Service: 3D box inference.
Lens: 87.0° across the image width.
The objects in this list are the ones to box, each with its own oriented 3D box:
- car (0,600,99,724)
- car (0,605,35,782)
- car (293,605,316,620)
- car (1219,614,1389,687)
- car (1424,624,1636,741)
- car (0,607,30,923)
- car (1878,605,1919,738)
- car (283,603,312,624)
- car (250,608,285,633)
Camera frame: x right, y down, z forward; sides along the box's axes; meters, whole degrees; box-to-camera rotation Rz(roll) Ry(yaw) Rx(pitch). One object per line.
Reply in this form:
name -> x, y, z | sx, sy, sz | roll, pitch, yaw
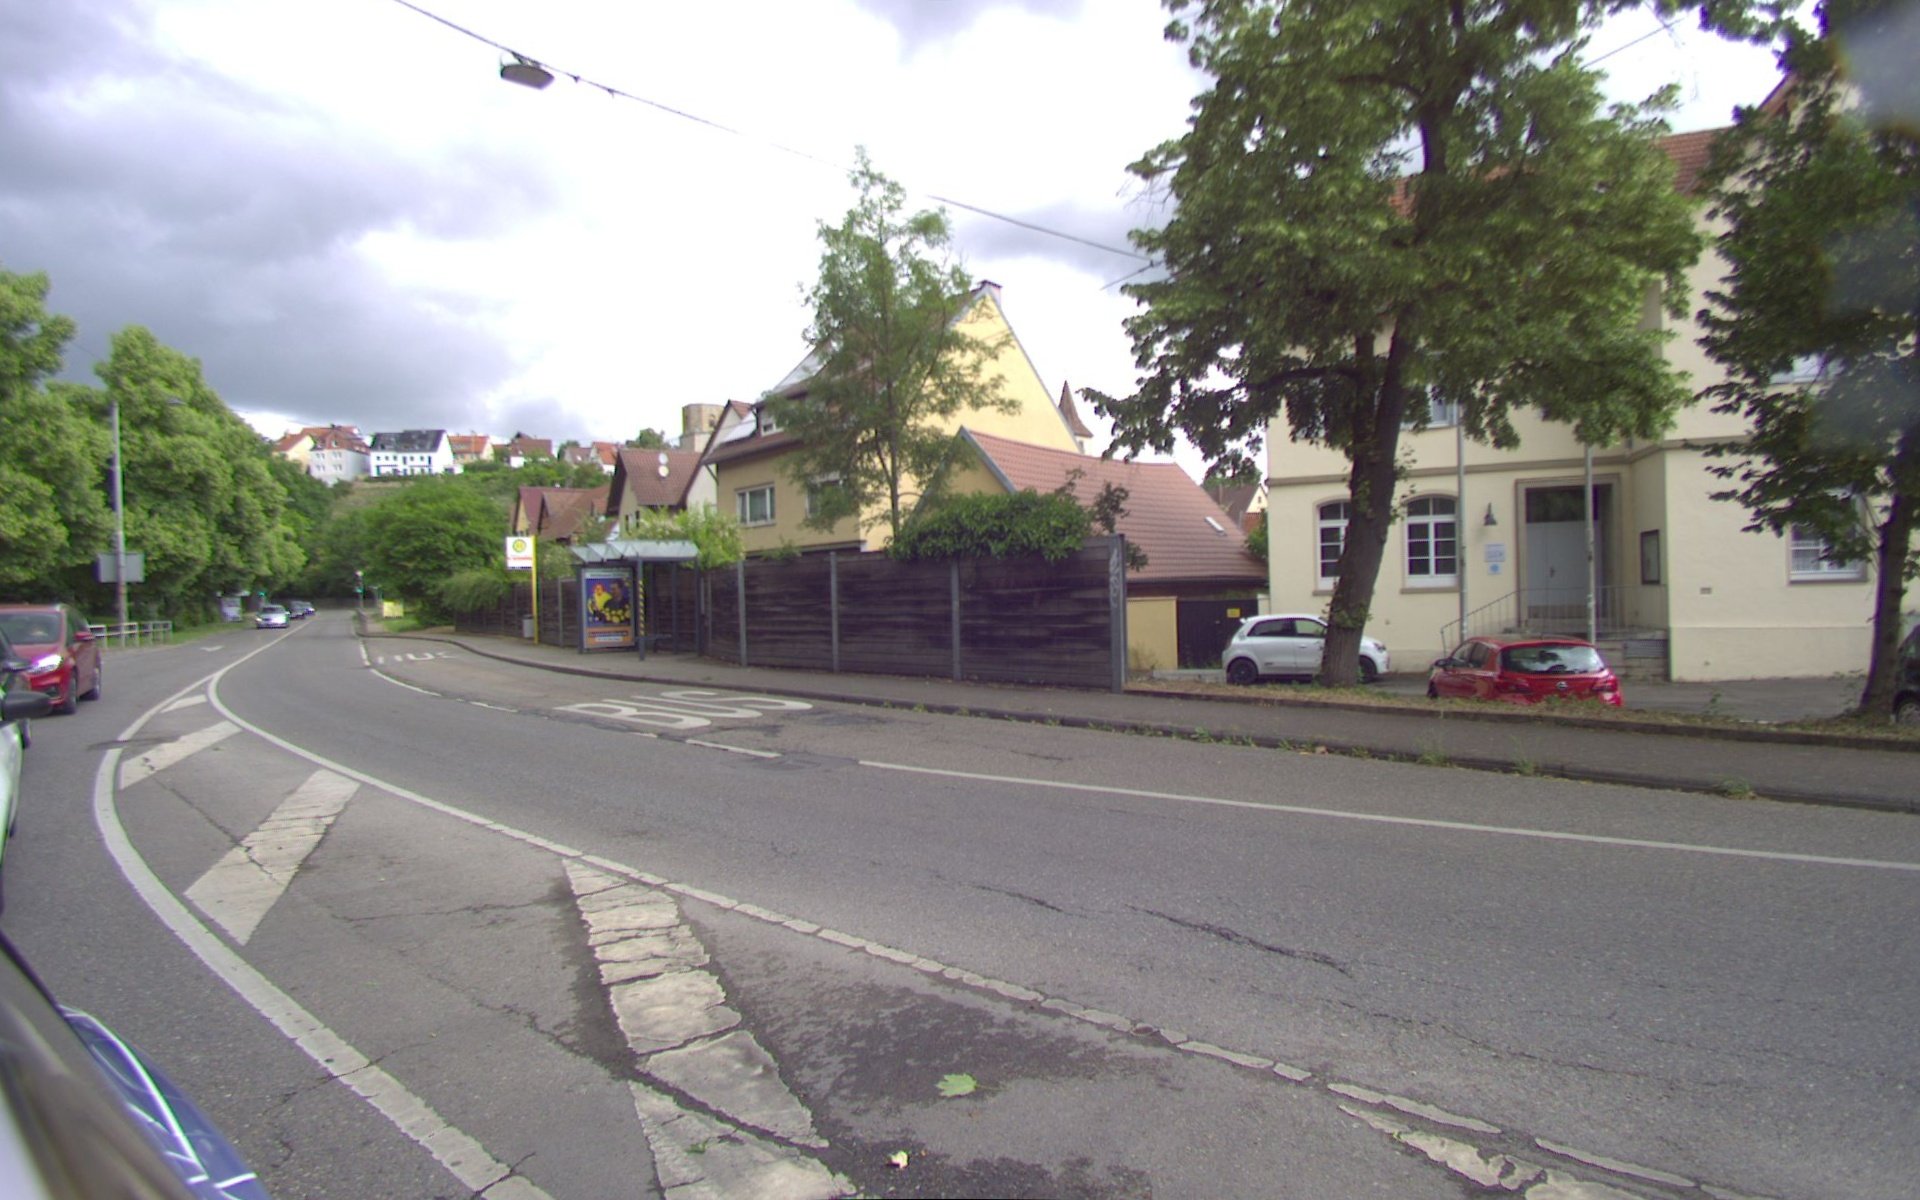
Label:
car -> -14.511, 0.880, 15.442 | 1.800, 1.685, 4.067 | -1, 0, -37
car -> -10.244, 0.855, 9.842 | 1.699, 1.559, 3.787 | -1, 0, -41
car -> -74.190, 1.388, 114.556 | 1.817, 1.630, 4.008 | -1, 0, -38
car -> 7.746, 1.109, 22.927 | 3.487, 1.528, 1.581 | -1, 0, 20
car -> 8.125, 1.105, 14.772 | 1.590, 1.389, 3.544 | -1, 0, 10
car -> -6.032, 0.818, 5.279 | 1.594, 1.525, 3.610 | -1, 0, -41
car -> 12.698, 0.890, 11.589 | 1.586, 1.644, 3.093 | -1, 0, 2
car -> -62.027, 1.252, 94.785 | 1.880, 1.768, 4.013 | -2, 1, -28
car -> -47.624, 1.382, 69.560 | 1.817, 1.652, 4.009 | -1, 0, -37
